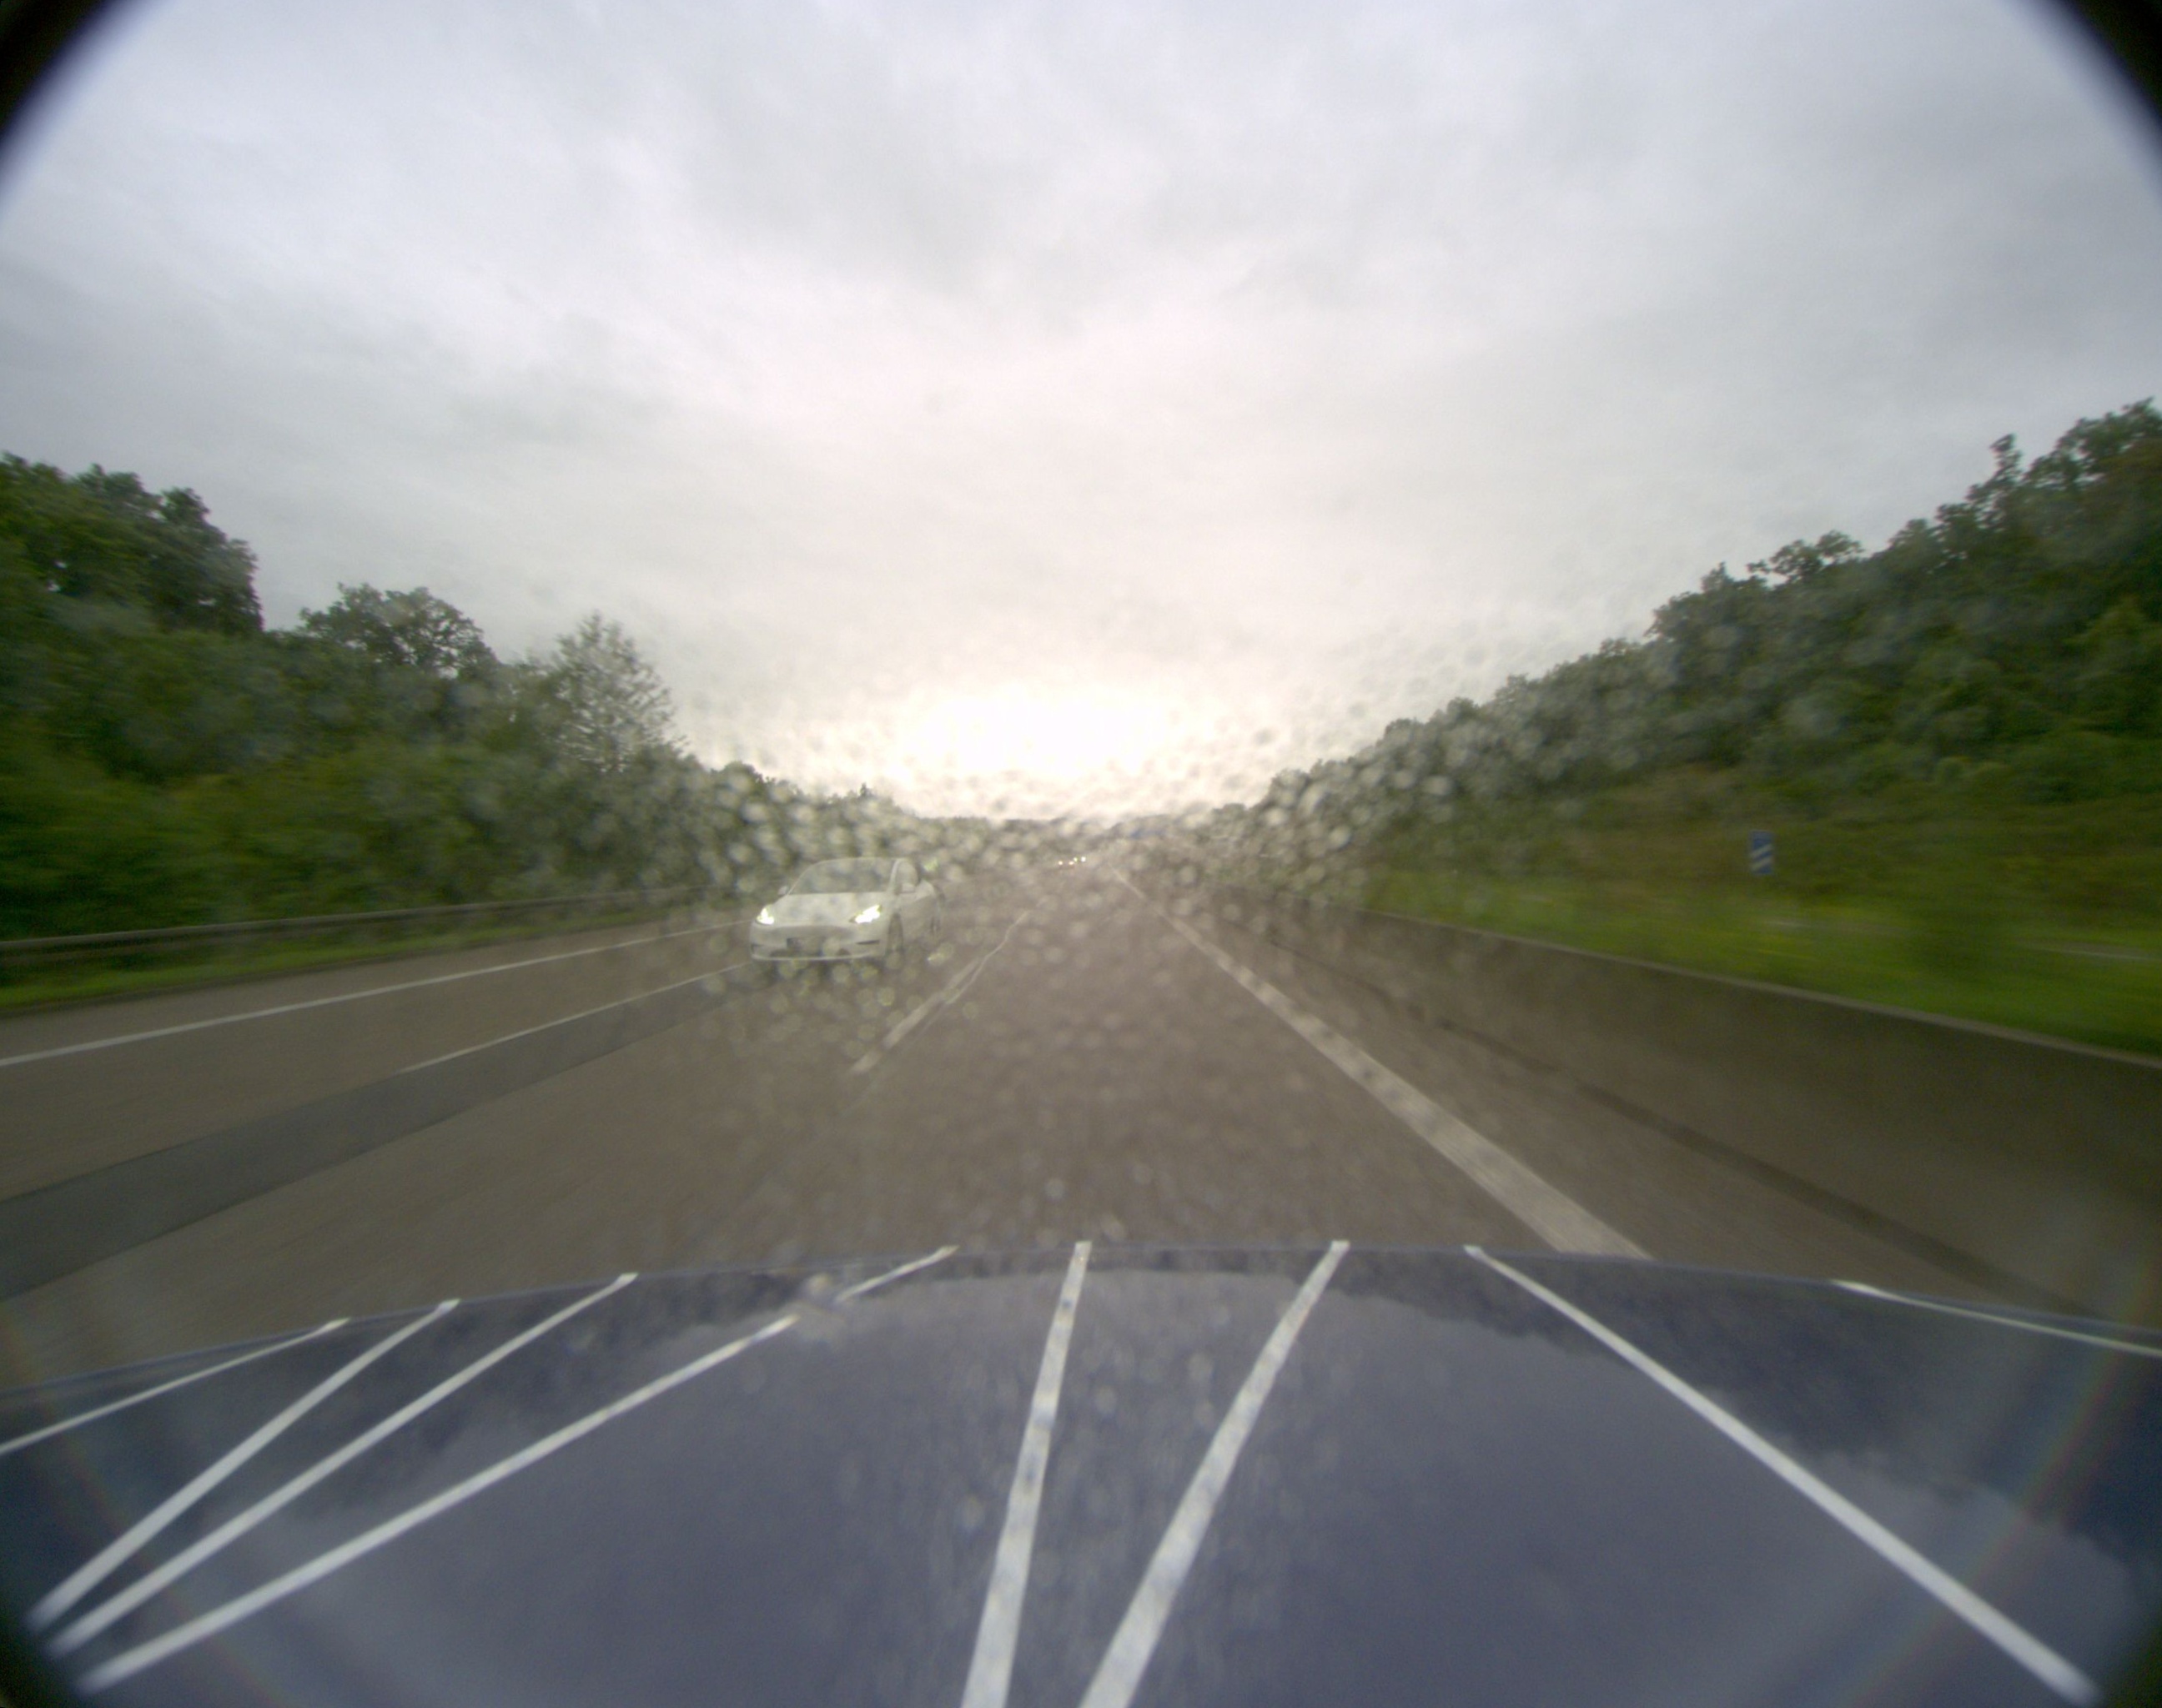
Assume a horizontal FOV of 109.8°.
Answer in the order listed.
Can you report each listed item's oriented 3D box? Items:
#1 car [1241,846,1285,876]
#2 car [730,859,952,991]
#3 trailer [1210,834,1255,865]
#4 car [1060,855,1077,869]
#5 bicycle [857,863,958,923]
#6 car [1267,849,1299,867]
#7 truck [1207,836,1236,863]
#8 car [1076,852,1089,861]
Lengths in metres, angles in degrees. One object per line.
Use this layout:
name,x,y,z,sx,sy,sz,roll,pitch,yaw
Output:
car,12.656,0.466,53.083,1.998,2.002,4.655,0,0,1
car,-3.496,0.931,12.231,1.865,1.559,4.963,-2,1,1
trailer,18.168,-0.541,91.972,2.995,3.465,13.255,0,0,1
car,-1.465,0.939,89.893,1.933,1.521,4.296,0,0,-1
bicycle,-3.446,0.768,15.210,1.757,1.084,0.913,-1,2,1
car,17.873,0.328,67.369,1.780,1.593,4.000,0,0,1
truck,18.316,-0.590,99.005,2.999,3.447,4.770,0,1,1
car,0.324,0.495,141.749,2.008,1.456,4.001,0,2,7
